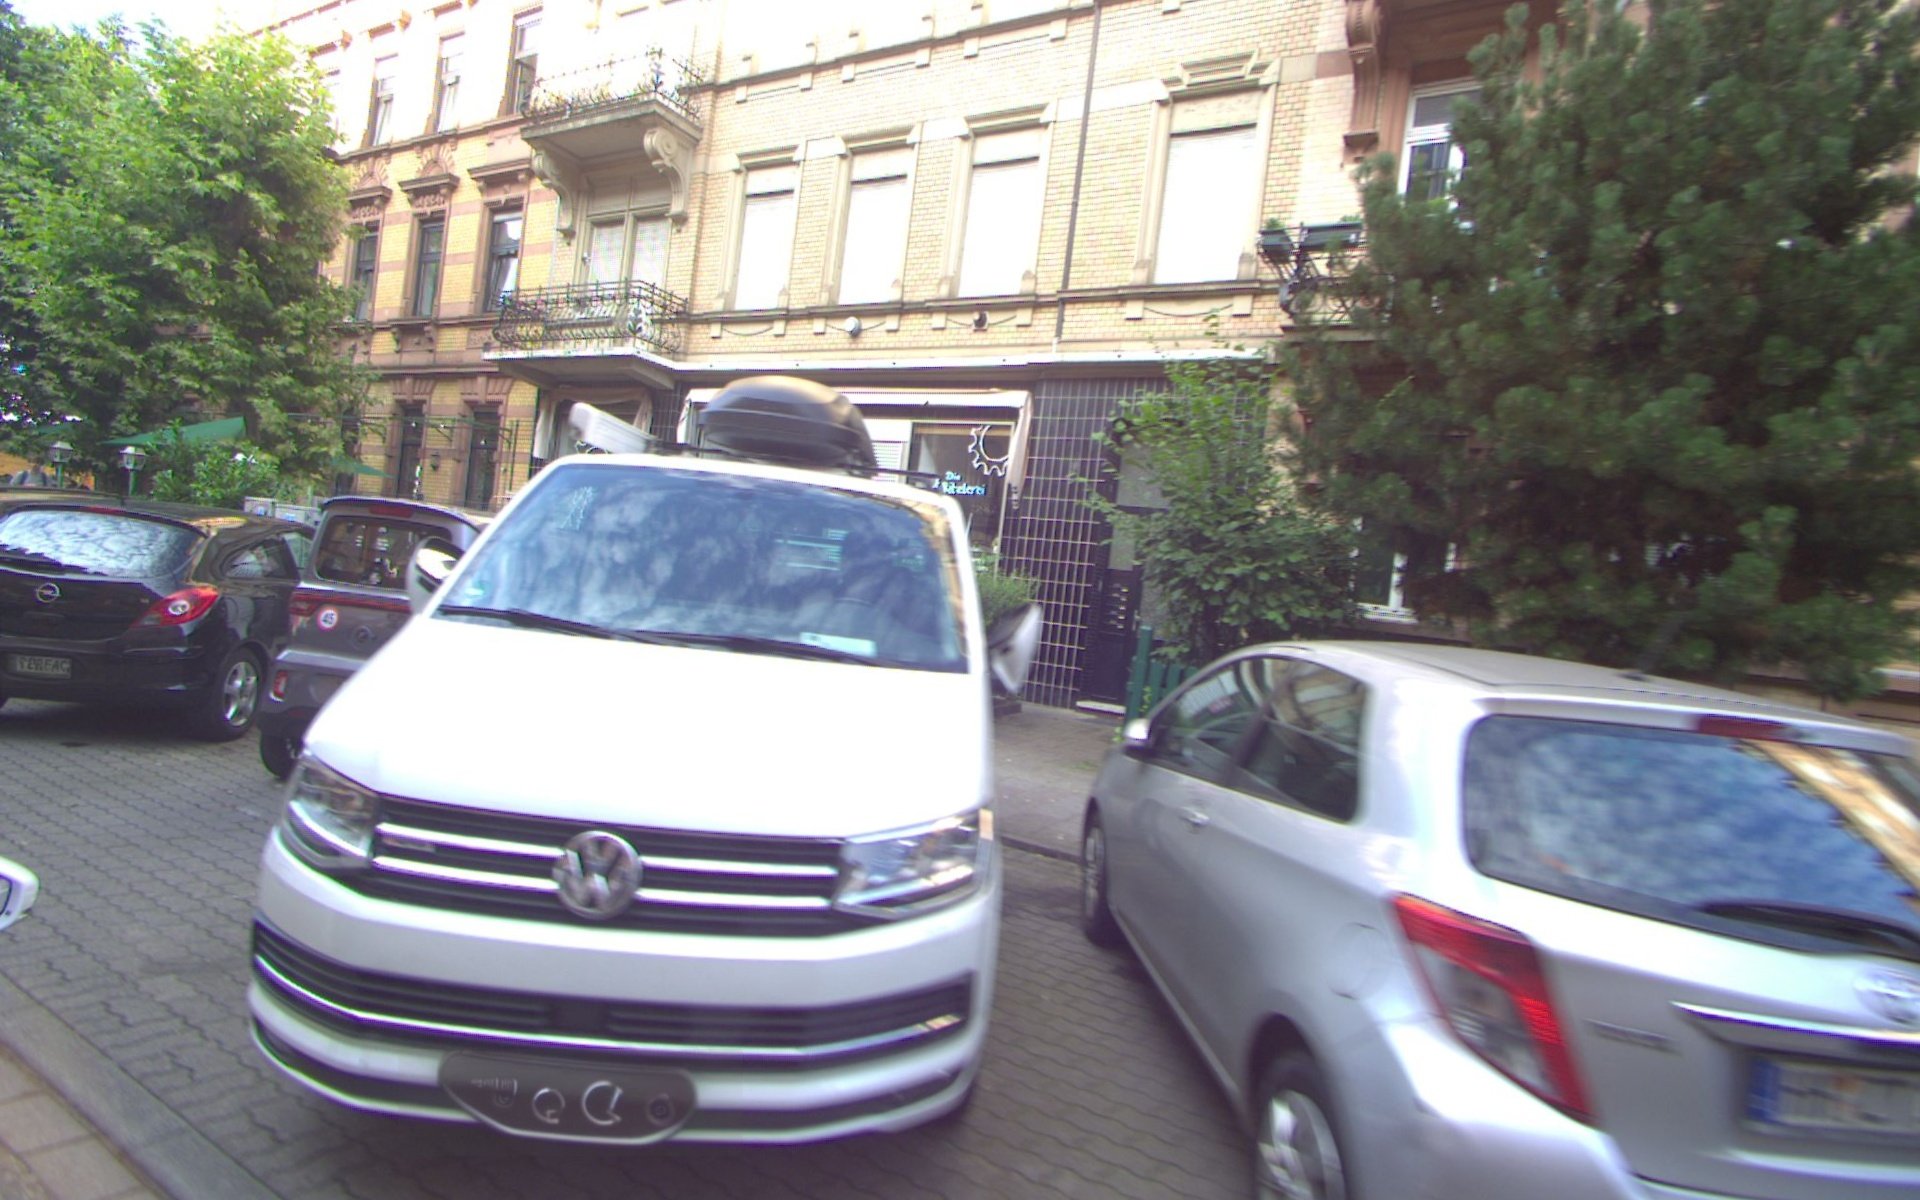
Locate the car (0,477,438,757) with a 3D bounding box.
[{"bbox_3d":[-5.650,0.005,7.670,1.722,1.478,3.984,7,1,-10],"label":"car"}]

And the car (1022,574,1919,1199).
[{"bbox_3d":[1.507,0.890,3.613,1.840,1.567,4.235,8,-1,-4],"label":"car"}]

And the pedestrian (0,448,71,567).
[{"bbox_3d":[-16.008,-1.577,17.288,0.711,1.902,0.839,8,2,35],"label":"pedestrian"}]

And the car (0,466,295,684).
[{"bbox_3d":[-8.055,-0.351,8.839,1.857,1.497,4.456,7,3,-8],"label":"car"}]

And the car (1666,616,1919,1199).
[{"bbox_3d":[3.820,1.053,1.525,1.965,1.753,4.455,8,-1,-4],"label":"car"}]

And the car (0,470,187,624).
[{"bbox_3d":[-10.509,-0.621,10.274,1.846,1.484,4.462,7,2,-4],"label":"car"}]

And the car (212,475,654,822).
[{"bbox_3d":[-3.210,0.209,6.591,1.321,1.689,2.466,8,3,5],"label":"car"}]

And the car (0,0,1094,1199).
[{"bbox_3d":[-0.896,0.139,4.506,1.883,2.436,5.156,7,1,-2],"label":"car"}]

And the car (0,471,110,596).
[{"bbox_3d":[-12.643,-0.903,12.197,1.711,1.504,3.712,7,1,-7],"label":"car"}]

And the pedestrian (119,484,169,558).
[{"bbox_3d":[-18.923,-1.827,23.331,0.560,1.590,0.629,7,1,27],"label":"pedestrian"}]
